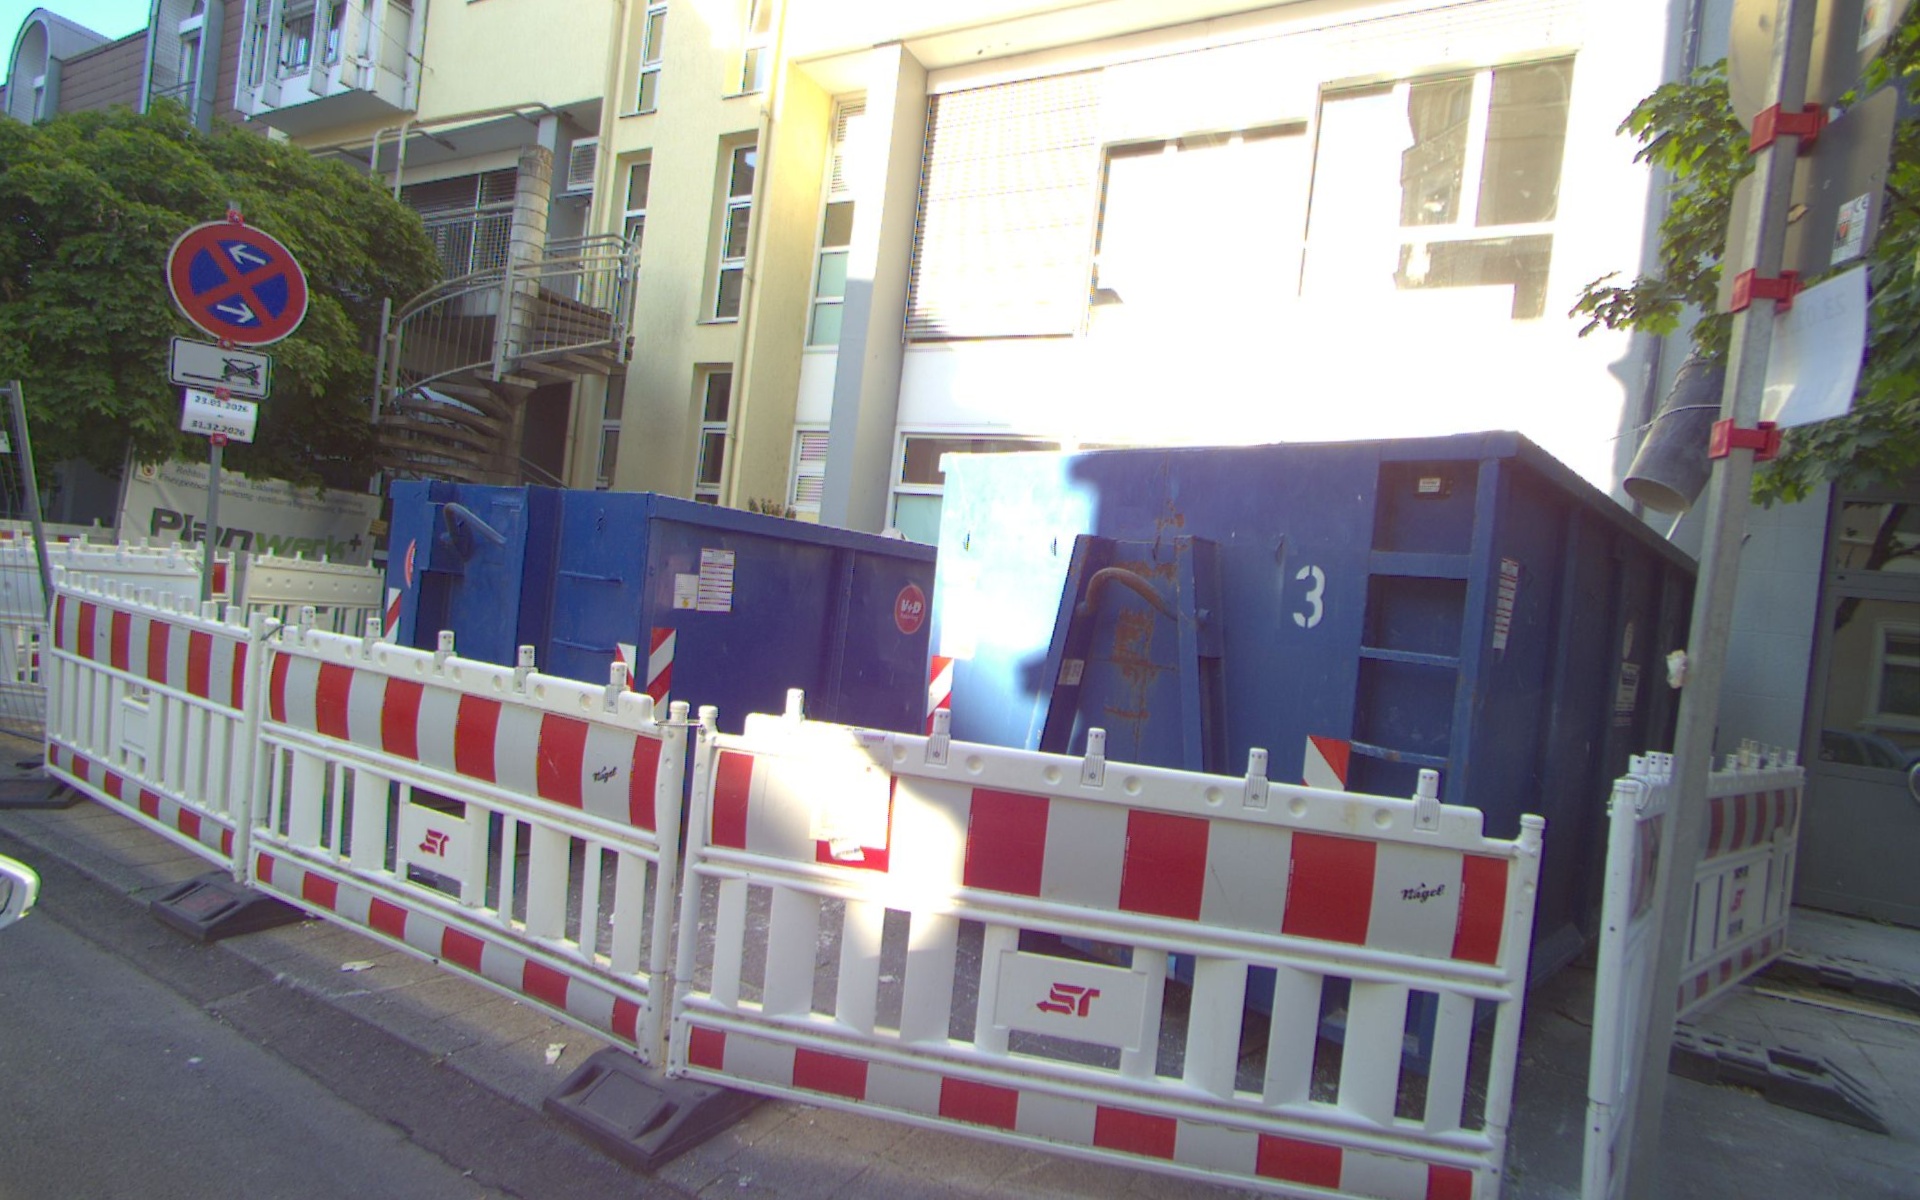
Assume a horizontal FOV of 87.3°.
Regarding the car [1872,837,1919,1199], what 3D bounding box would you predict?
[{"bbox_3d":[3.062,1.127,0.425,3.668,1.495,1.677,7,1,32],"label":"car"}]
